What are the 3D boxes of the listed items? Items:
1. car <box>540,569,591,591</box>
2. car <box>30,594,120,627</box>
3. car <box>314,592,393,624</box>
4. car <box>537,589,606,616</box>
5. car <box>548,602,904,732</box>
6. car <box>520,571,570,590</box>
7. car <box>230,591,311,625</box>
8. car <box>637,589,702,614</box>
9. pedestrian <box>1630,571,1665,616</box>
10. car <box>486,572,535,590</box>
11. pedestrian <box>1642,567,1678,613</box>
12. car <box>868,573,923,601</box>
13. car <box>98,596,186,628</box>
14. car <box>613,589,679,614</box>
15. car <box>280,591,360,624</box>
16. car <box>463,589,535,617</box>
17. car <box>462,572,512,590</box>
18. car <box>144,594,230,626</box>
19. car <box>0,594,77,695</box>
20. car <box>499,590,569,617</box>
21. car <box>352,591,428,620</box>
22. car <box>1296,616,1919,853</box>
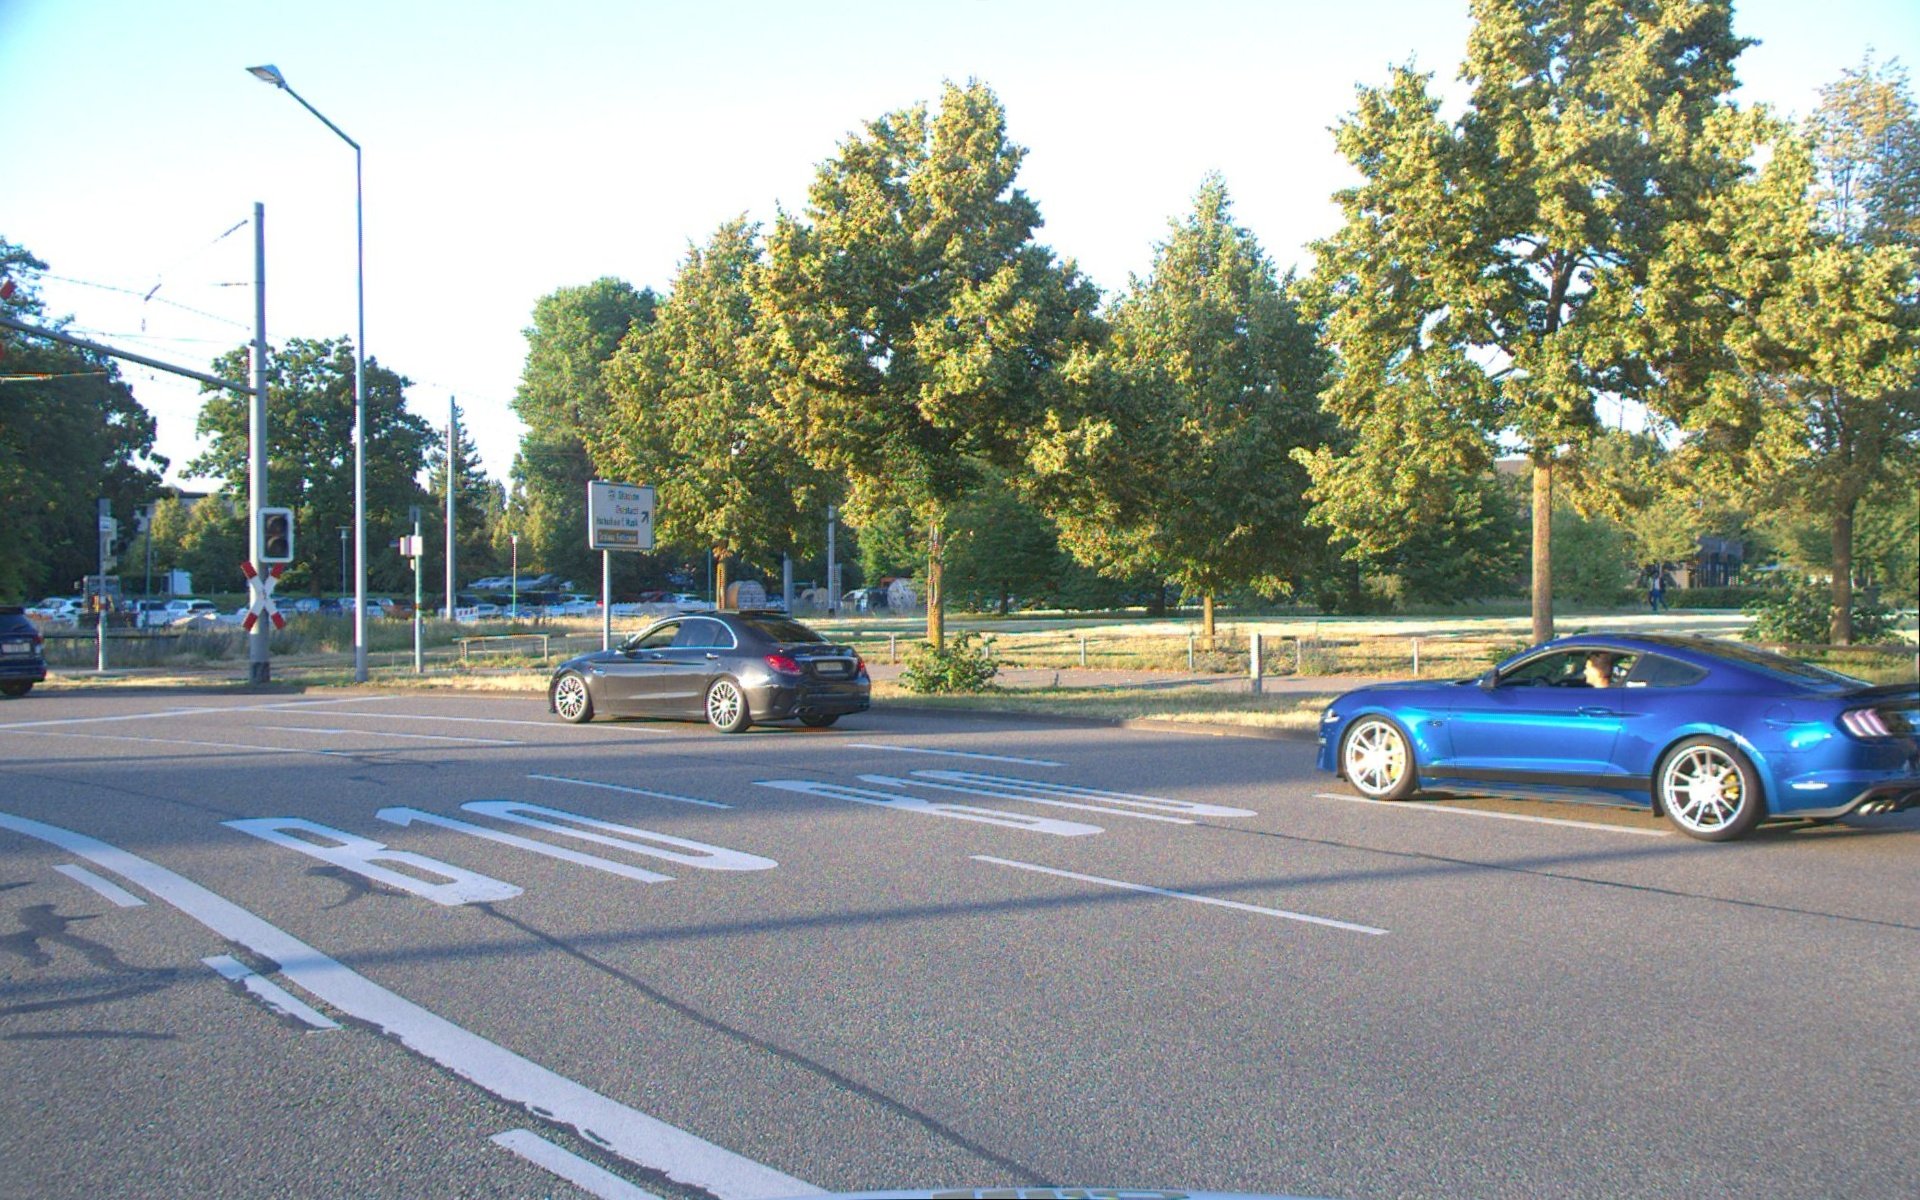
[{"bbox_3d":[-33.735,-1.729,141.604,1.958,1.775,3.988,1,0,33],"label":"car"},{"bbox_3d":[-40.960,0.491,76.537,3.913,1.471,1.949,-1,0,31],"label":"car"},{"bbox_3d":[-32.679,0.432,89.082,3.913,1.691,1.949,-1,0,31],"label":"car"},{"bbox_3d":[-23.890,0.150,101.579,3.913,1.581,1.899,-1,0,31],"label":"car"},{"bbox_3d":[-2.990,0.764,20.752,4.342,1.452,1.949,0,0,37],"label":"car"},{"bbox_3d":[-35.989,-1.679,143.445,1.864,1.581,3.987,-1,0,34],"label":"car"},{"bbox_3d":[-35.555,0.434,85.284,3.913,1.691,1.949,-1,0,31],"label":"car"},{"bbox_3d":[-19.095,0.112,108.770,3.913,1.581,1.899,-1,0,31],"label":"car"},{"bbox_3d":[29.180,-0.295,70.206,1.088,1.896,0.903,0,0,-28],"label":"pedestrian"},{"bbox_3d":[-39.719,-1.705,146.238,1.864,1.581,3.987,-1,0,34],"label":"car"},{"bbox_3d":[29.108,-0.401,68.780,1.088,1.896,0.903,0,0,-28],"label":"pedestrian"},{"bbox_3d":[-5.077,-1.032,130.154,3.913,2.132,1.899,-1,0,31],"label":"car"},{"bbox_3d":[-39.001,0.596,78.861,3.913,1.471,1.949,-1,0,31],"label":"car"},{"bbox_3d":[-20.256,0.083,106.740,3.913,1.581,1.899,-1,0,31],"label":"car"},{"bbox_3d":[-33.717,0.406,87.113,3.913,1.691,1.949,-1,0,31],"label":"car"},{"bbox_3d":[-26.942,0.174,96.594,3.913,1.581,1.899,-1,0,31],"label":"car"},{"bbox_3d":[-42.341,-1.693,148.107,1.864,1.581,3.987,-1,0,34],"label":"car"},{"bbox_3d":[-37.696,0.492,80.602,3.913,1.471,1.949,-1,0,31],"label":"car"},{"bbox_3d":[-17.218,0.709,27.661,3.977,1.630,1.959,0,0,12],"label":"car"},{"bbox_3d":[-25.520,0.202,99.094,3.913,1.581,1.899,-1,0,31],"label":"car"},{"bbox_3d":[-31.450,0.303,91.305,3.913,1.581,1.899,-1,0,31],"label":"car"},{"bbox_3d":[4.966,0.845,12.450,1.939,1.365,4.603,1,0,-40],"label":"car"}]
